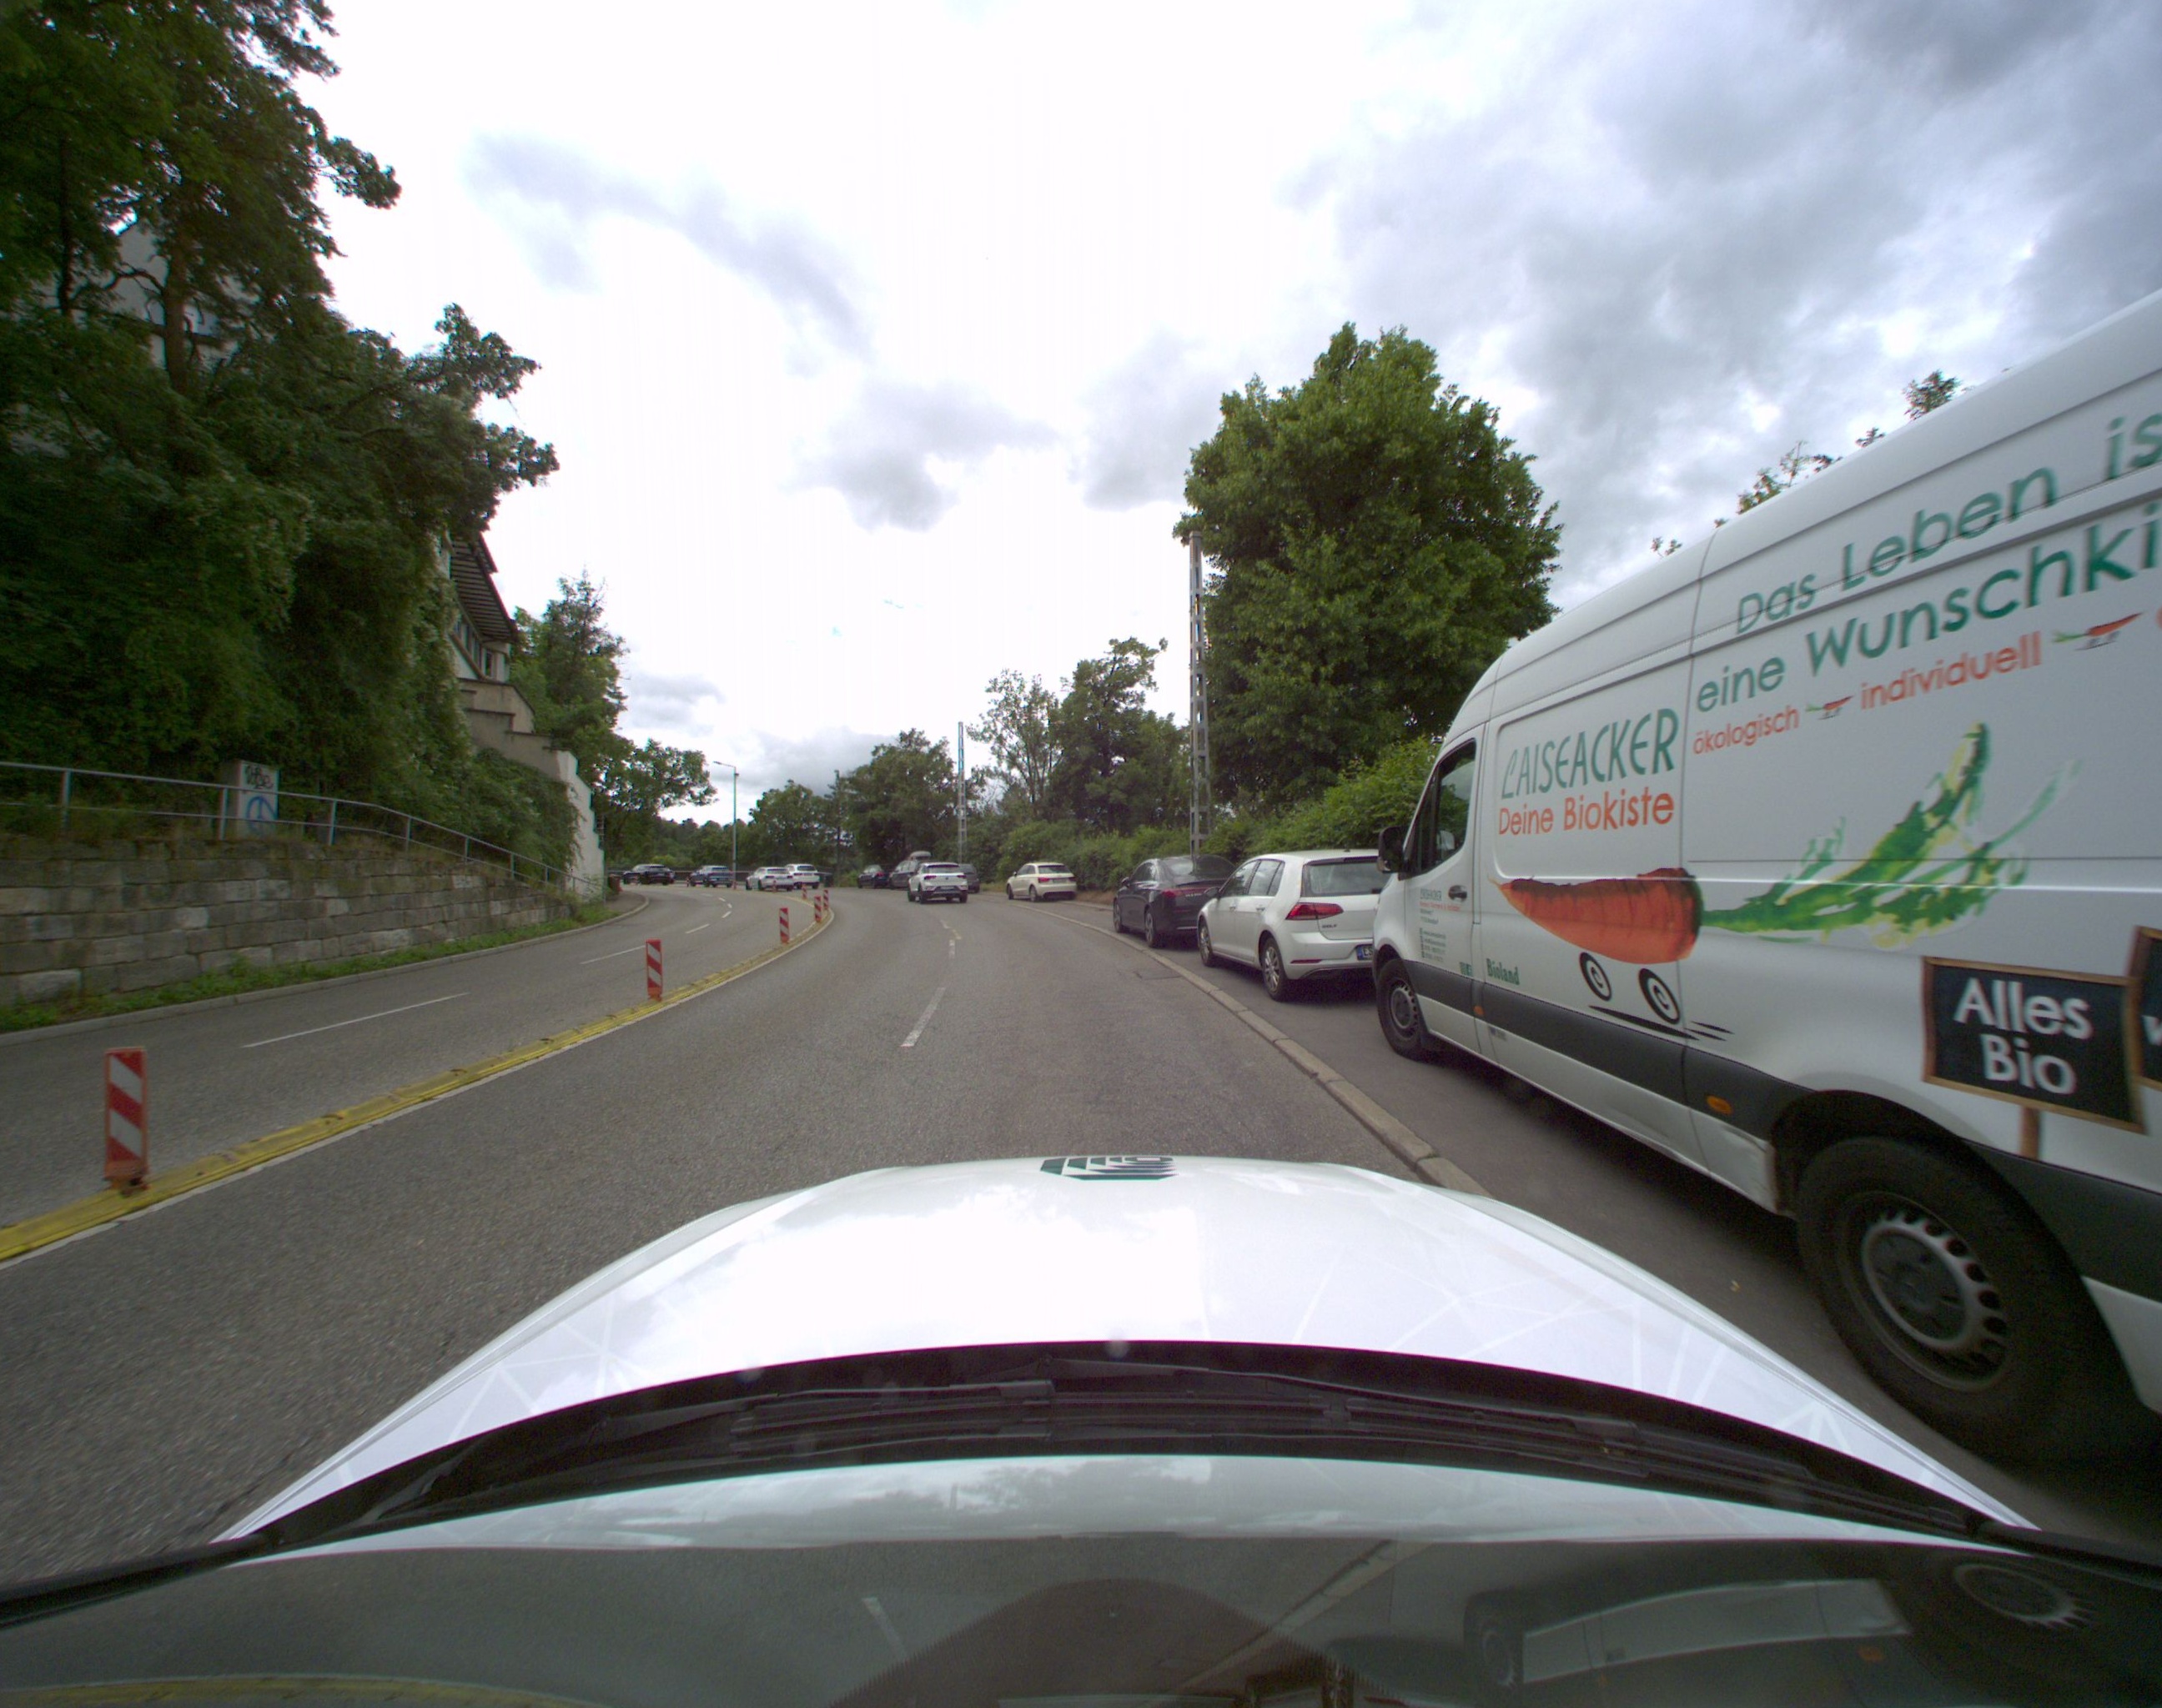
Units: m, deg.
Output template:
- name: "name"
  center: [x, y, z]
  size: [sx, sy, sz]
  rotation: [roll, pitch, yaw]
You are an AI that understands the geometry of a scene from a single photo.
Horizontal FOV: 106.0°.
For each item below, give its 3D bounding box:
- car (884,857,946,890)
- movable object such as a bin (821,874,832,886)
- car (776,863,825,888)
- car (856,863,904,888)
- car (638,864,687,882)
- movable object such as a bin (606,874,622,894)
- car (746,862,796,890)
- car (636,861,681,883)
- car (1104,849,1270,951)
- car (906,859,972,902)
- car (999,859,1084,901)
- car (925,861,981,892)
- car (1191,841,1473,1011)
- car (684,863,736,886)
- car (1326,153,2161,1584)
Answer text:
- name: "car"
  center: [-9.391, 1.097, 45.883]
  size: [1.811, 1.772, 4.559]
  rotation: [1, -2, -34]
- name: "movable object such as a bin"
  center: [-18.909, 1.943, 60.513]
  size: [0.525, 0.881, 0.526]
  rotation: [3, -3, -44]
- name: "car"
  center: [-18.534, 1.405, 53.635]
  size: [2.008, 1.586, 3.957]
  rotation: [3, -2, -35]
- name: "car"
  center: [-12.531, 1.306, 50.631]
  size: [1.671, 1.487, 3.993]
  rotation: [1, -2, -33]
- name: "car"
  center: [-36.091, 1.638, 70.271]
  size: [3.498, 1.526, 1.706]
  rotation: [1, -2, 16]
- name: "movable object such as a bin"
  center: [-22.825, 1.449, 39.786]
  size: [0.611, 0.949, 0.550]
  rotation: [3, -3, -34]
- name: "car"
  center: [-18.738, 1.313, 49.151]
  size: [1.920, 1.574, 3.957]
  rotation: [3, -2, -34]
- name: "car"
  center: [-33.895, 1.457, 65.322]
  size: [3.949, 1.690, 1.832]
  rotation: [0, -3, 41]
- name: "car"
  center: [1.663, 0.702, 14.476]
  size: [1.700, 1.464, 4.649]
  rotation: [-1, 0, -9]
- name: "car"
  center: [-5.609, 0.999, 31.844]
  size: [1.873, 1.536, 3.777]
  rotation: [-1, 0, -20]
- name: "car"
  center: [-1.571, 0.958, 31.066]
  size: [1.786, 1.418, 3.966]
  rotation: [-2, 0, -26]
- name: "car"
  center: [-6.456, 1.104, 40.786]
  size: [1.650, 1.464, 3.964]
  rotation: [1, -2, -27]
- name: "car"
  center: [2.537, 0.660, 9.262]
  size: [1.698, 1.464, 3.827]
  rotation: [-2, -1, -5]
- name: "car"
  center: [-26.263, 1.465, 57.571]
  size: [3.960, 1.541, 2.011]
  rotation: [-1, -3, 44]
- name: "car"
  center: [3.024, 0.028, 3.778]
  size: [2.076, 2.523, 5.847]
  rotation: [-3, 0, 2]
